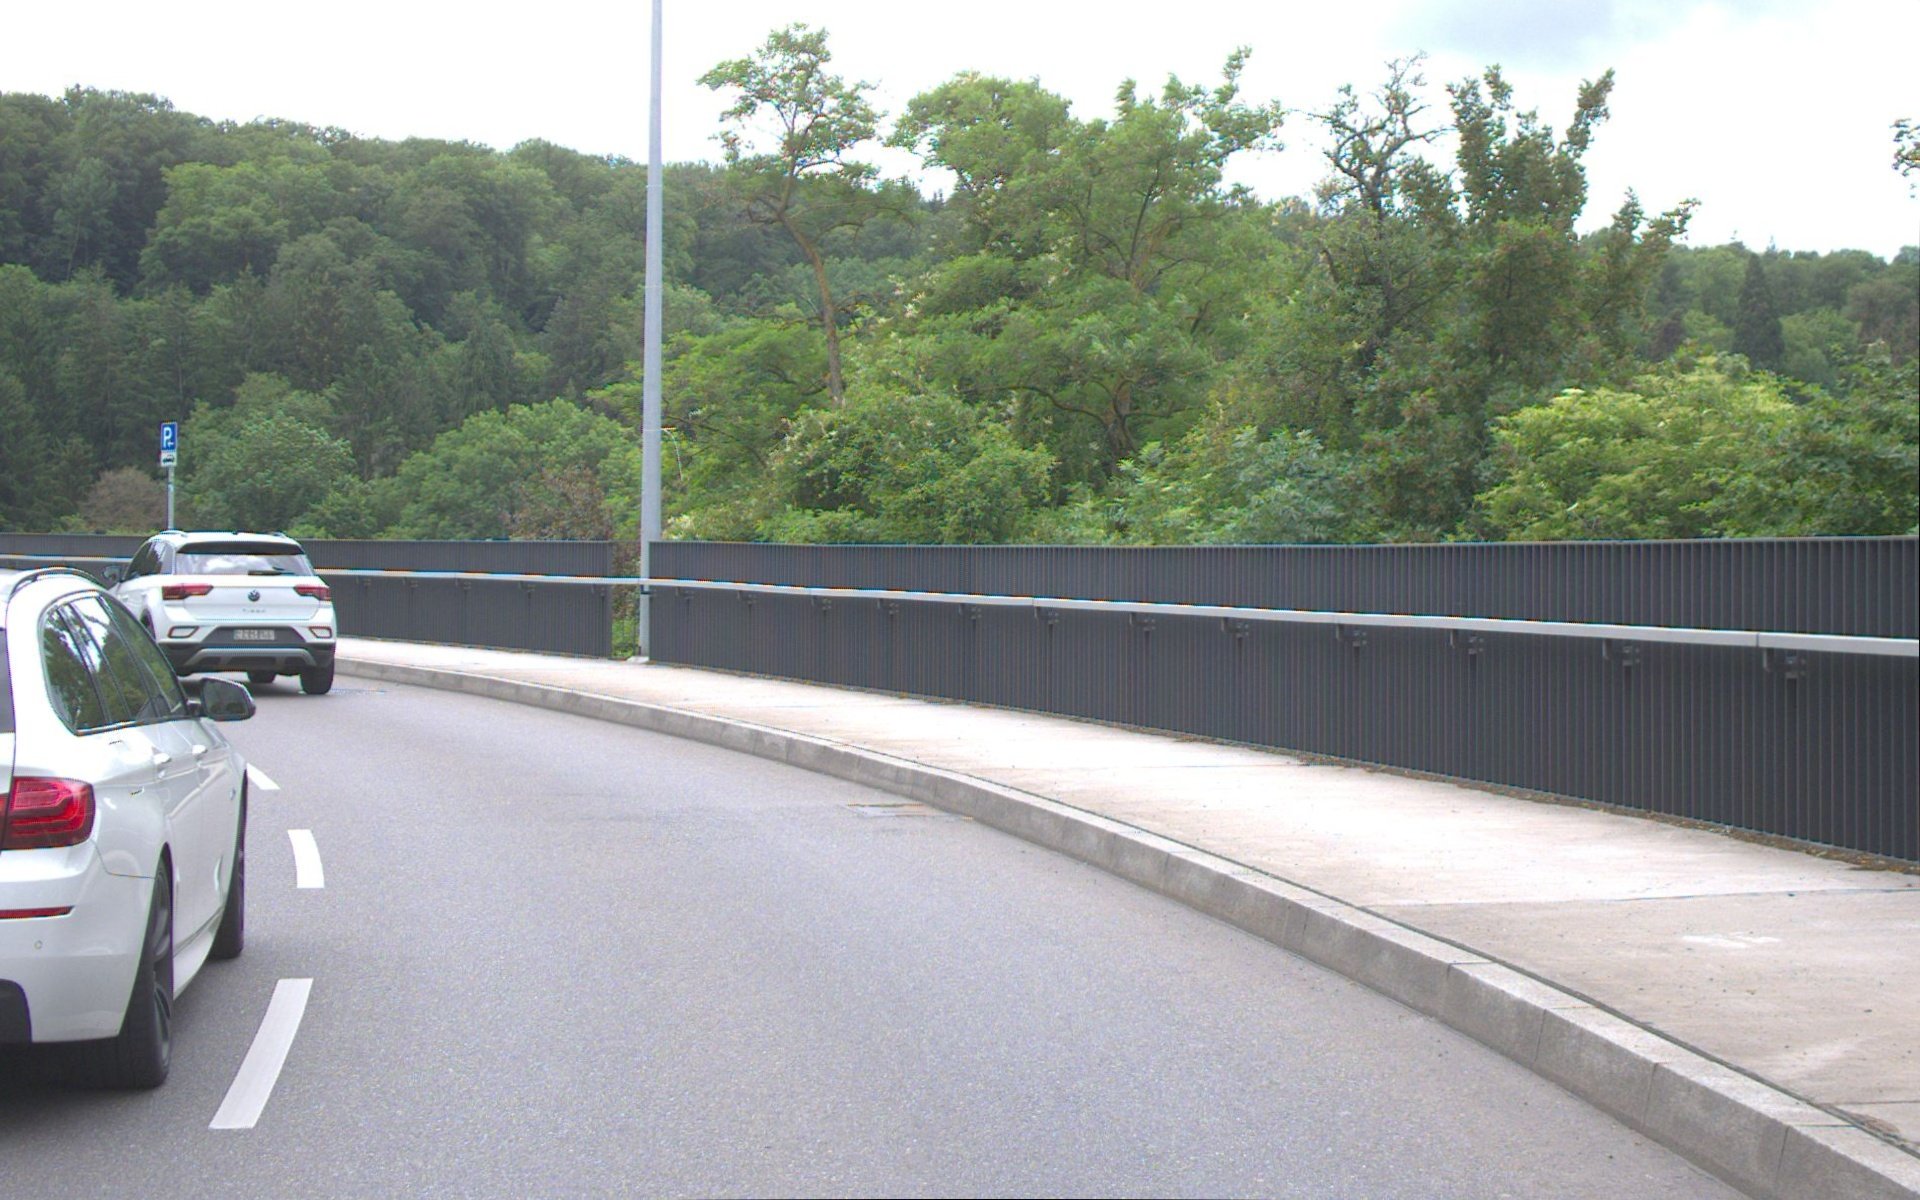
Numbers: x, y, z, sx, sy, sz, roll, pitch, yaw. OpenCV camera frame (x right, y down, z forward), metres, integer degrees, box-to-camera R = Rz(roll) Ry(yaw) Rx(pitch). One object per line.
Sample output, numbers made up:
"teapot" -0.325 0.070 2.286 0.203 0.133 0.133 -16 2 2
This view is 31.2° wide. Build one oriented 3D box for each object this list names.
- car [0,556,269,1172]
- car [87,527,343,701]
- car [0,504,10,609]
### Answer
"car" -3.242 0.616 10.421 1.827 1.454 4.487 -1 1 -6
"car" -7.439 0.091 34.053 1.827 1.600 4.001 -1 1 -22
"car" -17.867 -0.737 57.269 1.994 1.712 5.047 0 1 -40
